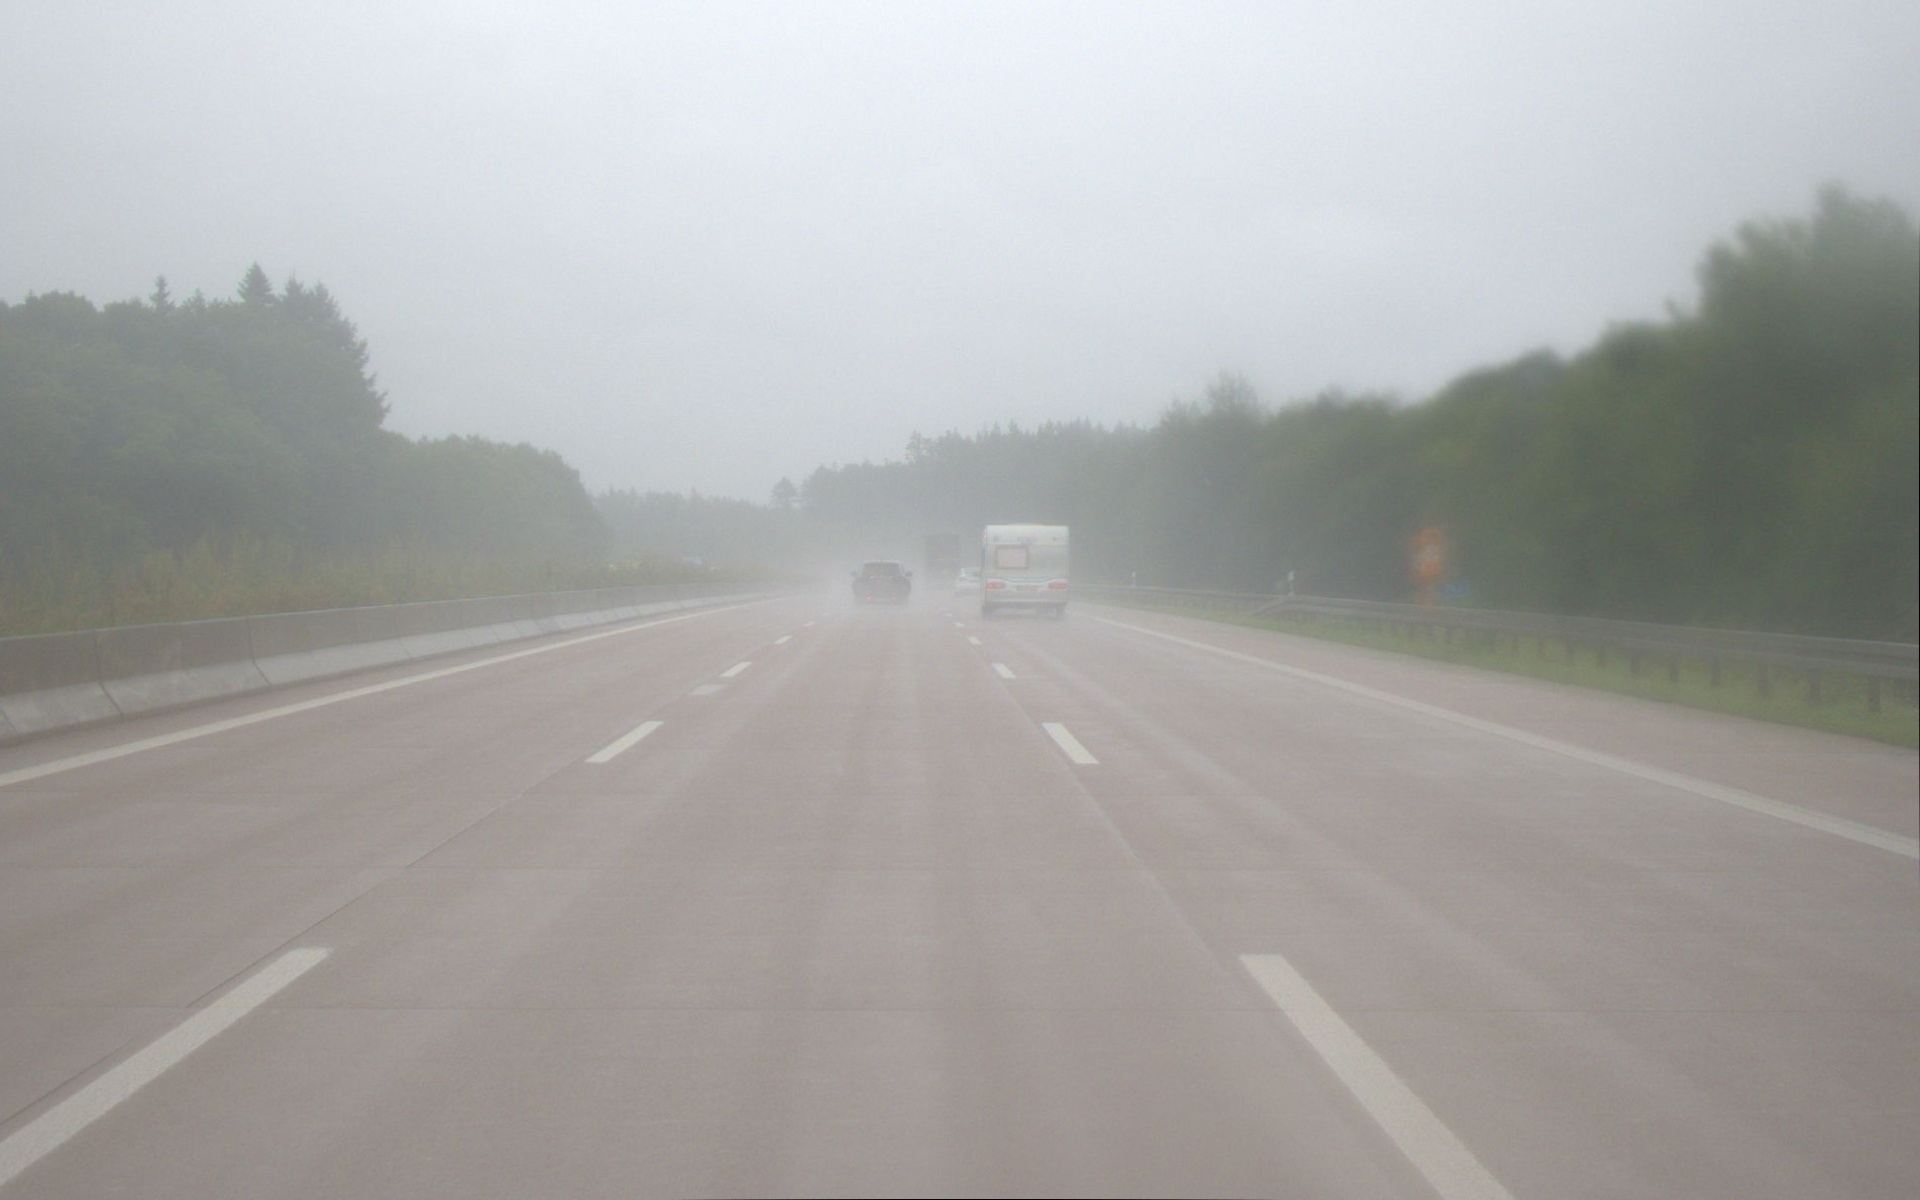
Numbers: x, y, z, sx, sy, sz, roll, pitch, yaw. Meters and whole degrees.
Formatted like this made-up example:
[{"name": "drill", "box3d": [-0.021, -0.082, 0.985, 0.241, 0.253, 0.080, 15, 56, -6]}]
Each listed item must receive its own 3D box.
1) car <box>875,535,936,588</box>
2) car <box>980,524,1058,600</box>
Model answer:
[{"name": "car", "box3d": [-1.782, -1.281, 113.865, 1.937, 1.723, 4.130, 0, 1, 0]}, {"name": "car", "box3d": [1.581, -1.045, 93.148, 2.058, 1.993, 4.099, 0, 1, 0]}]
